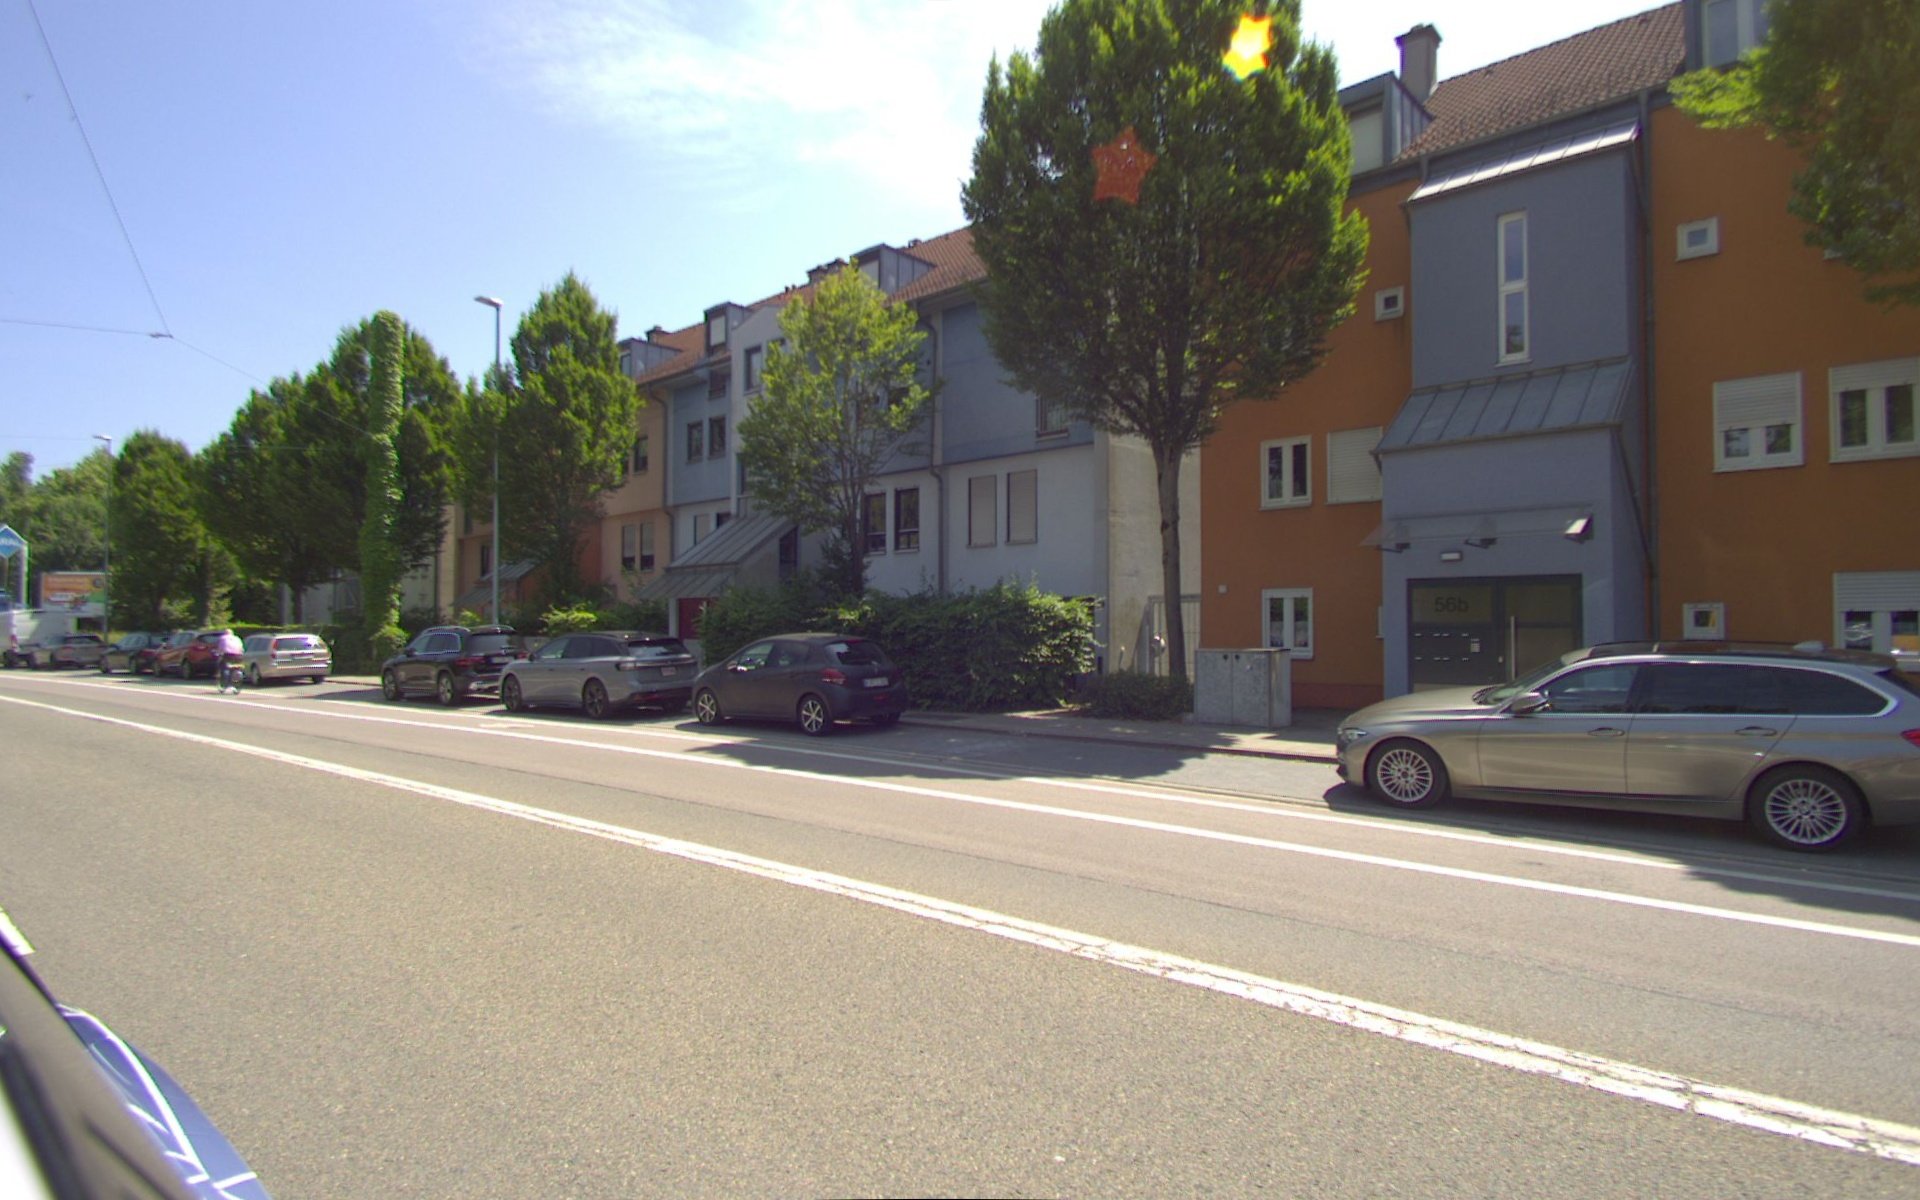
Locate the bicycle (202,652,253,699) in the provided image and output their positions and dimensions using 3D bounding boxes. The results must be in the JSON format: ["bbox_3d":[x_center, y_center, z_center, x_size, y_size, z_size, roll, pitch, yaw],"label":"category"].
[{"bbox_3d":[-18.206,1.862,25.148,1.638,1.104,0.633,-1,-4,42],"label":"bicycle"}]

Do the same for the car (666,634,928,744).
[{"bbox_3d":[-2.668,1.296,15.993,4.254,1.443,1.732,-2,0,41],"label":"car"}]

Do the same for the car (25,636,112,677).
[{"bbox_3d":[-36.603,2.298,41.523,4.135,1.549,1.848,-2,-1,36],"label":"car"}]

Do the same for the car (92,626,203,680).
[{"bbox_3d":[-29.272,1.872,36.428,4.549,1.808,1.976,-2,-2,36],"label":"car"}]

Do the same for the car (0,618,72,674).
[{"bbox_3d":[-41.732,2.029,44.812,5.213,2.326,2.260,-2,-1,33],"label":"car"}]

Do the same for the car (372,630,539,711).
[{"bbox_3d":[-11.434,1.529,22.818,4.142,1.601,1.750,-2,-1,38],"label":"car"}]

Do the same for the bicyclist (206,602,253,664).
[{"bbox_3d":[-18.206,0.826,25.219,0.736,1.516,0.728,-1,-4,42],"label":"bicyclist"}]

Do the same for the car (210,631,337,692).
[{"bbox_3d":[-20.291,1.771,29.864,4.490,1.595,1.822,-2,-1,38],"label":"car"}]

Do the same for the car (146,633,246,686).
[{"bbox_3d":[-25.129,1.927,33.259,3.673,1.606,1.586,-2,-1,35],"label":"car"}]

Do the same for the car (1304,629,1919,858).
[{"bbox_3d":[5.650,1.063,8.748,4.745,1.440,1.688,-2,2,38],"label":"car"}]

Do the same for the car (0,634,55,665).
[{"bbox_3d":[-55.984,2.894,59.383,4.062,1.790,2.005,1,-2,-34],"label":"car"}]

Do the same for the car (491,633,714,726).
[{"bbox_3d":[-6.873,1.421,19.204,4.752,1.507,1.807,-2,-1,40],"label":"car"}]
